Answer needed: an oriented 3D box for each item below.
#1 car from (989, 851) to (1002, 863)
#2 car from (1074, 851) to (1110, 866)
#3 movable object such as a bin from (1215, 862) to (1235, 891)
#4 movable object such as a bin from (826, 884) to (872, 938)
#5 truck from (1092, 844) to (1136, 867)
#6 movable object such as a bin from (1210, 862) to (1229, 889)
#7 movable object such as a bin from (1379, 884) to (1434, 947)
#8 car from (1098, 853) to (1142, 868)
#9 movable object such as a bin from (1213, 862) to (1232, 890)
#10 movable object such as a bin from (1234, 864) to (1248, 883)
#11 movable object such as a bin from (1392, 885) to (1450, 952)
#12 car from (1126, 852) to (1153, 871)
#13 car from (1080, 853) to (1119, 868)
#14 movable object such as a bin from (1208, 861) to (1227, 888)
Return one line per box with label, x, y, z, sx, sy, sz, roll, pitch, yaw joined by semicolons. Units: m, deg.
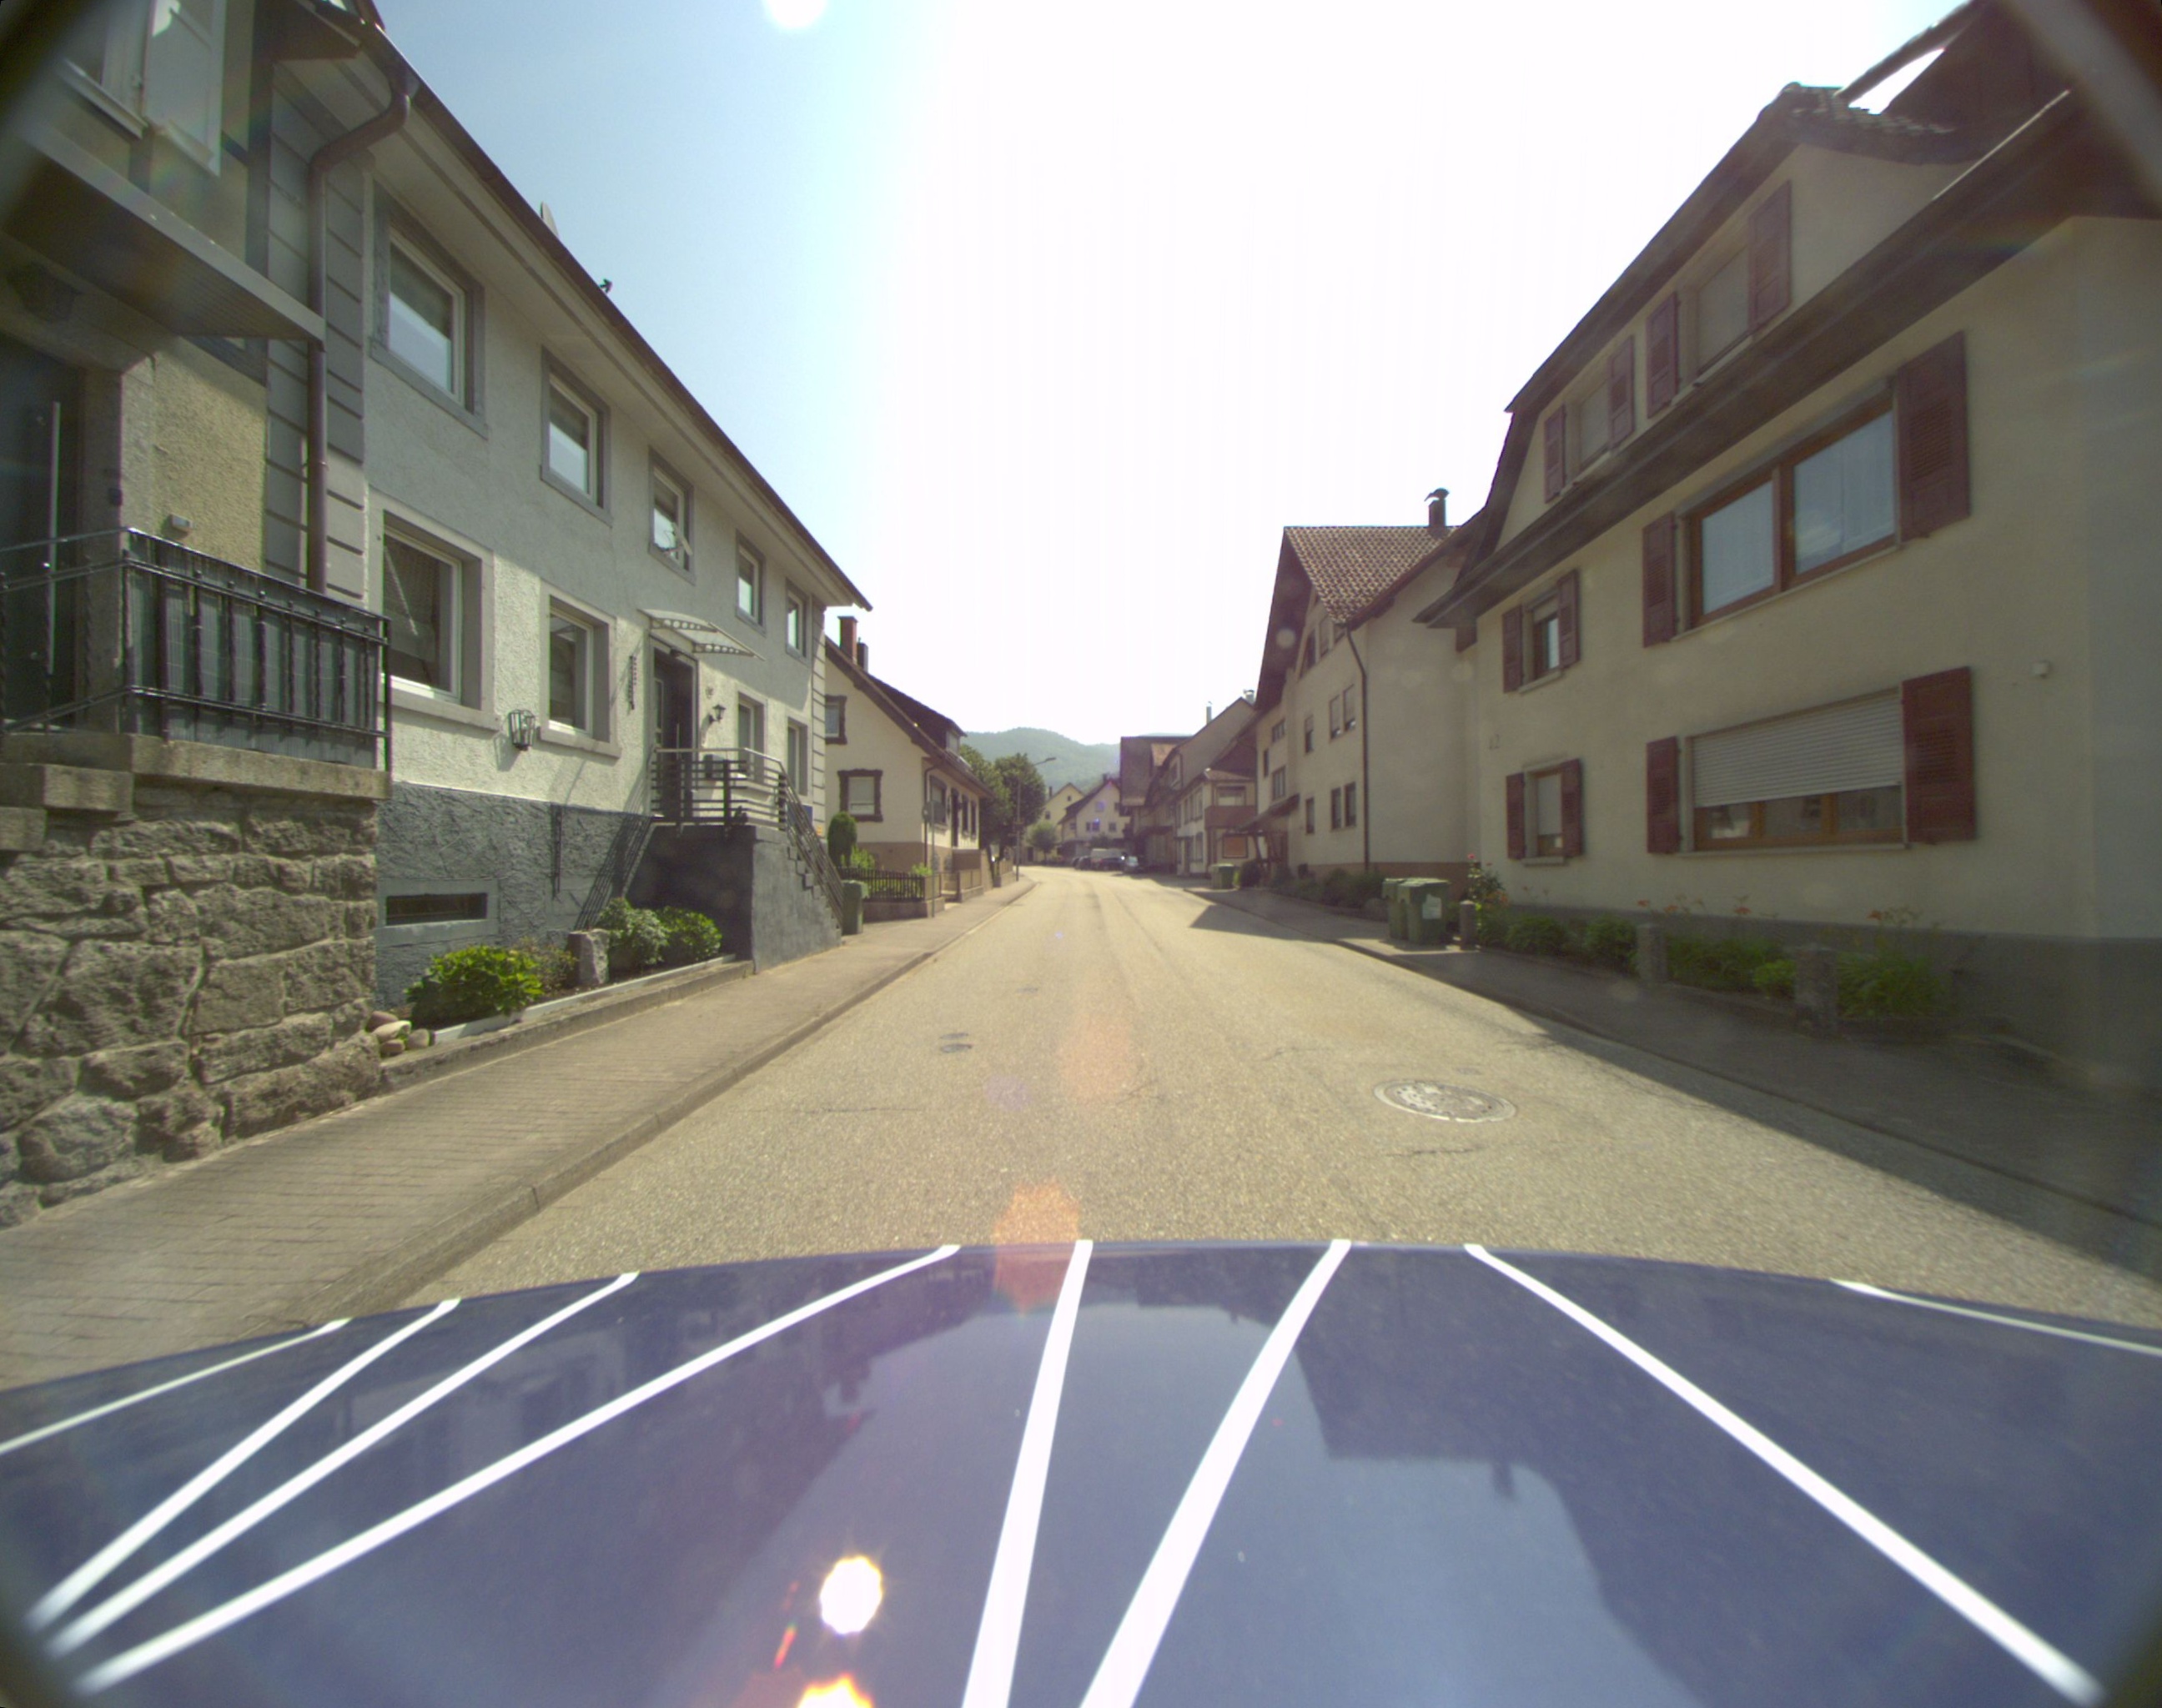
car;-16.017;0.504;142.504;1.999;2.001;3.999;-4;-1;-4
car;1.219;0.541;84.900;3.996;1.563;1.577;1;0;2
movable object such as a bin;6.152;0.953;32.400;0.719;1.174;0.598;1;0;1
movable object such as a bin;-4.586;1.121;15.043;0.706;1.014;0.618;0;1;1
truck;3.342;0.187;77.857;4.178;2.253;1.999;-1;1;-5
movable object such as a bin;6.142;0.938;33.709;0.719;1.174;0.598;1;0;1
movable object such as a bin;5.714;1.073;13.374;0.677;1.060;0.653;0;1;-1
car;3.688;0.624;72.950;4.106;1.494;1.753;0;0;-2
movable object such as a bin;6.155;0.946;33.057;0.719;1.174;0.598;1;0;1
movable object such as a bin;9.016;1.078;42.939;0.623;1.045;0.696;1;1;0
movable object such as a bin;5.632;1.053;12.609;0.677;1.060;0.621;0;1;-2
car;5.010;0.653;65.378;1.775;1.544;4.284;-1;0;-3
car;1.956;0.700;81.792;3.999;1.444;1.627;1;0;-4
movable object such as a bin;6.158;0.930;34.369;0.719;1.174;0.598;1;0;1
